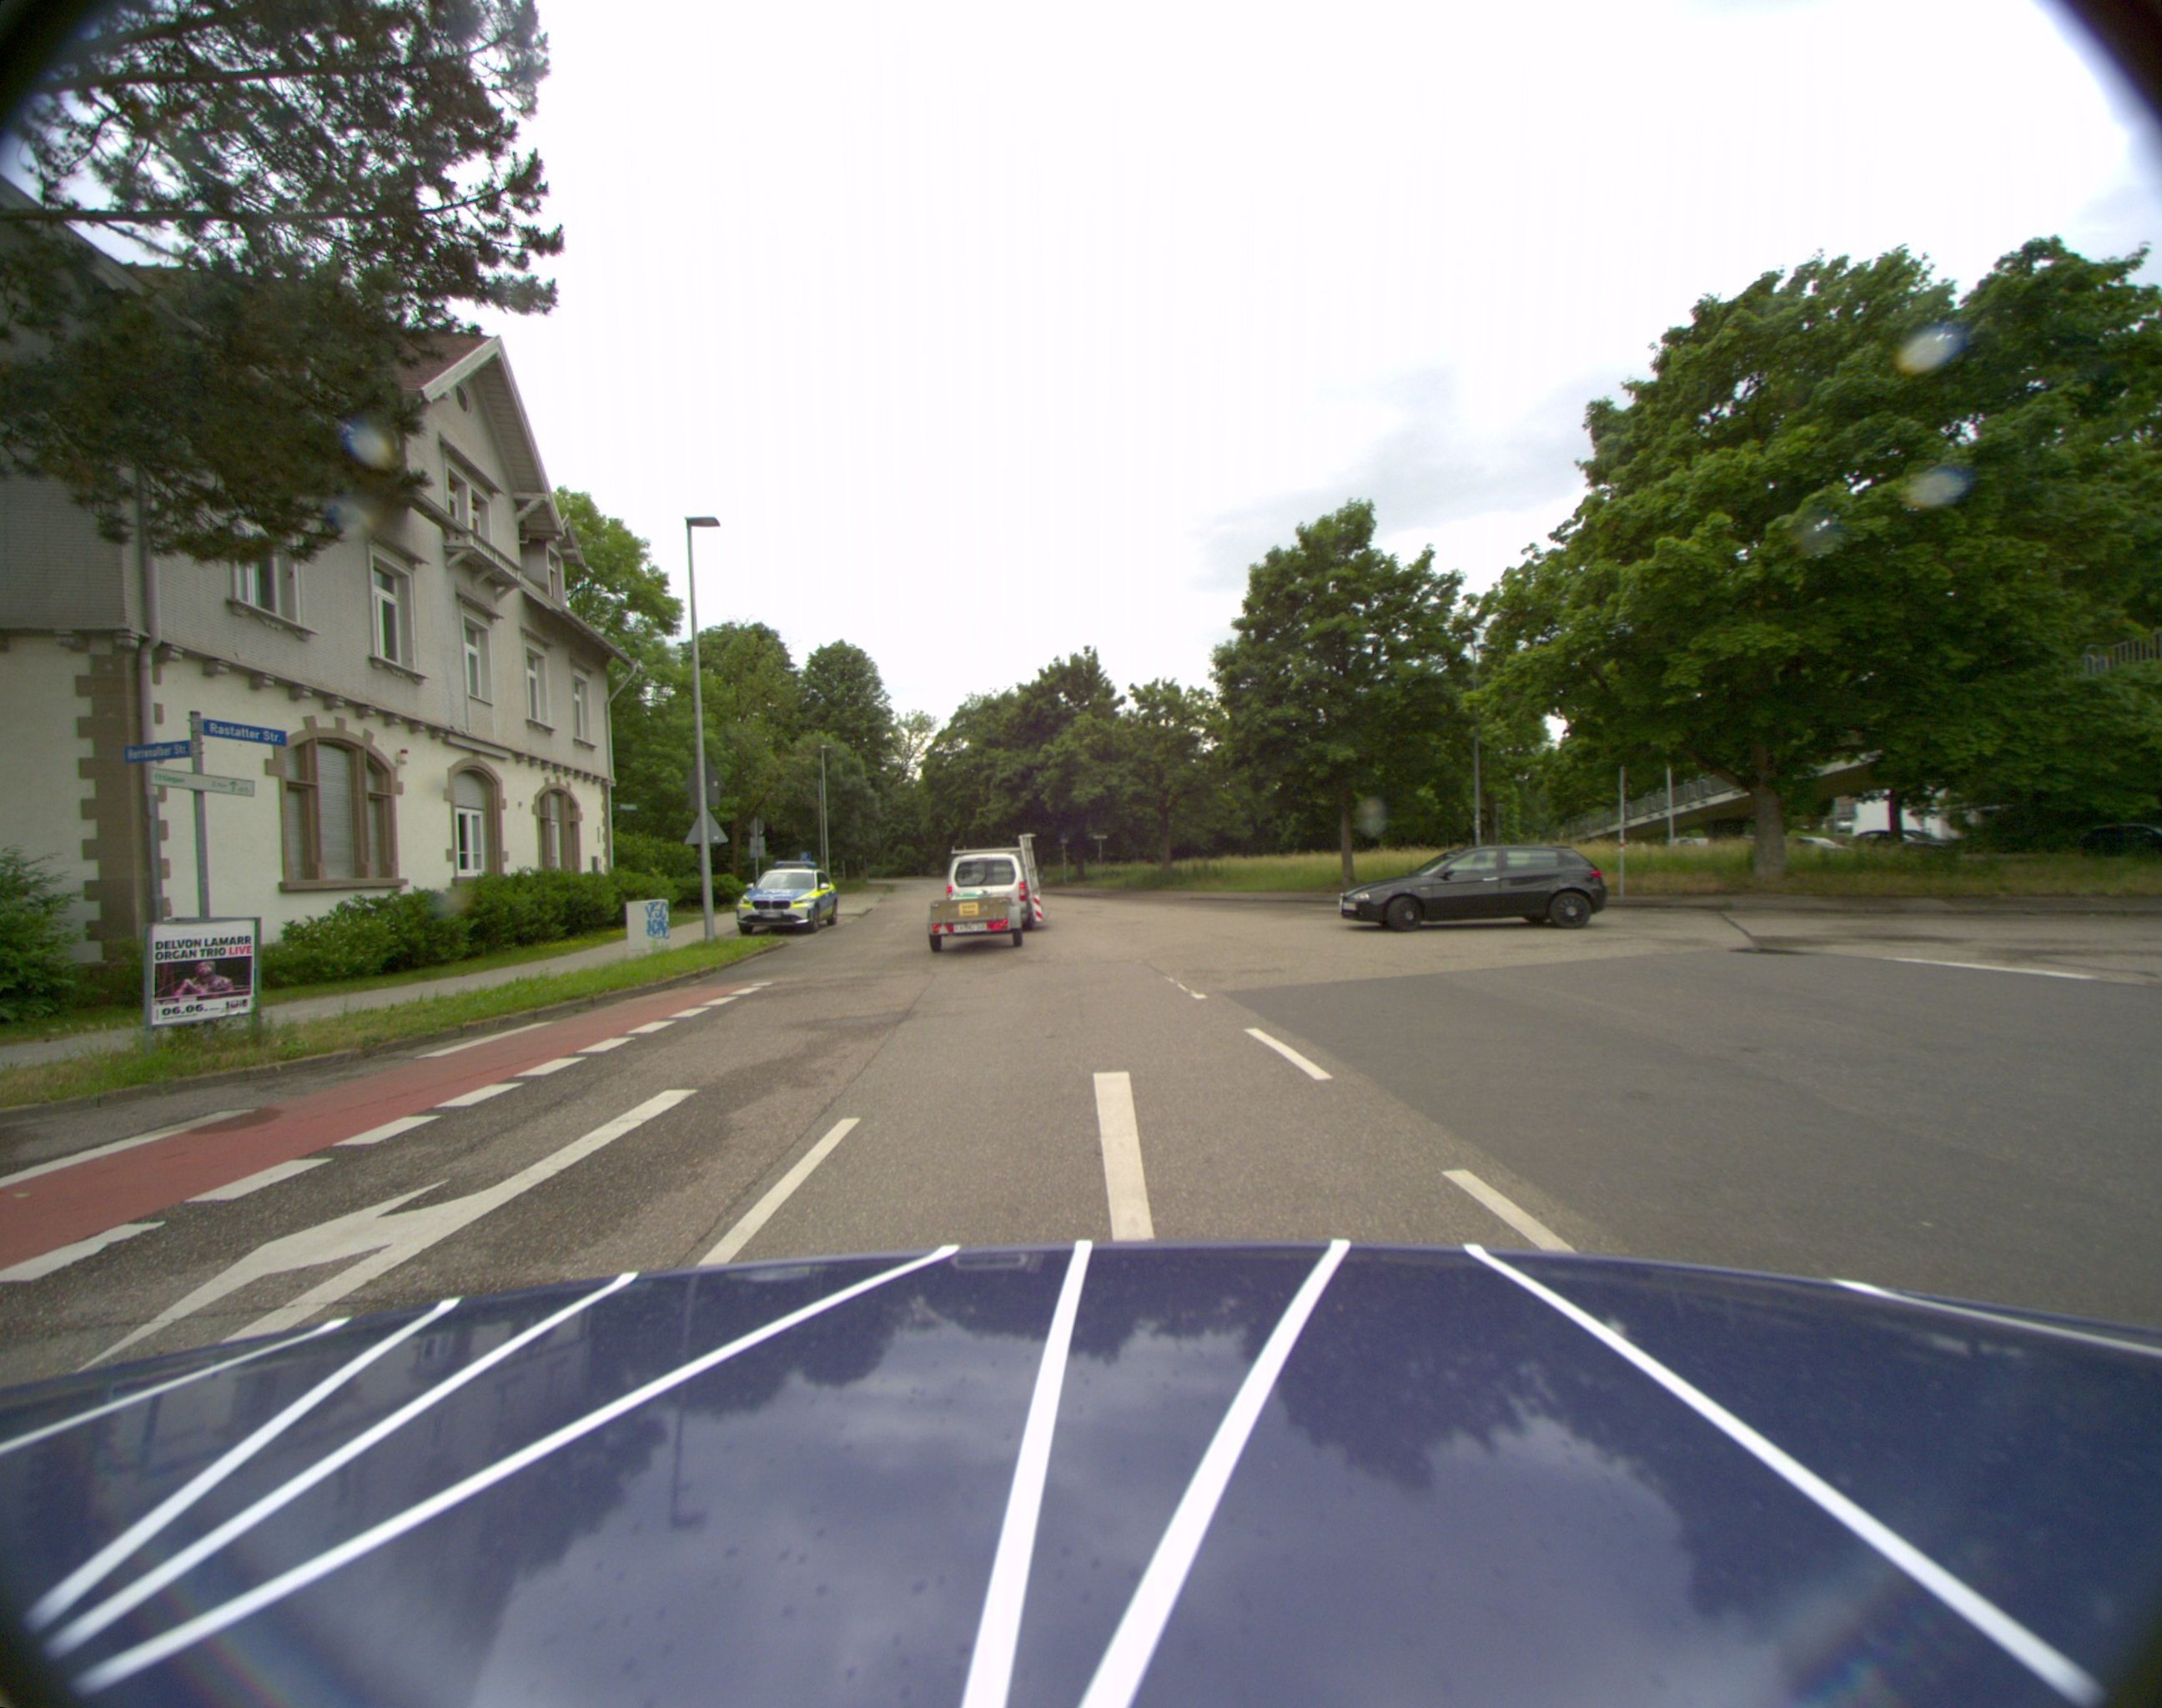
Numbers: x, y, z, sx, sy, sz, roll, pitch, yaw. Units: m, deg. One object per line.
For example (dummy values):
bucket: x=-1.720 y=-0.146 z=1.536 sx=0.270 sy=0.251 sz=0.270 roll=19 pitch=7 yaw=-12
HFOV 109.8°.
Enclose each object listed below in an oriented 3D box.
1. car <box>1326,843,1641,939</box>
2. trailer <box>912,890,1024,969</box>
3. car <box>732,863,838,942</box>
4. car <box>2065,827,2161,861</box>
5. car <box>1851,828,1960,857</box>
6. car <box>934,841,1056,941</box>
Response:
car: x=6.758 y=0.629 z=13.295 sx=4.533 sy=1.448 sz=1.805 roll=-2 pitch=0 yaw=13
trailer: x=-1.909 y=1.269 z=13.708 sx=1.571 sy=0.980 sz=3.463 roll=-2 pitch=1 yaw=-2
car: x=-7.616 y=1.155 z=19.931 sx=1.937 sy=1.839 sz=3.996 roll=0 pitch=0 yaw=-12
car: x=40.403 y=-0.389 z=28.710 sx=1.692 sy=1.231 sz=4.003 roll=-2 pitch=0 yaw=11
car: x=41.825 y=-0.570 z=38.688 sx=1.692 sy=1.343 sz=4.003 roll=-2 pitch=0 yaw=11
car: x=-1.805 y=0.746 z=17.522 sx=2.093 sy=1.847 sz=4.222 roll=-5 pitch=0 yaw=1
